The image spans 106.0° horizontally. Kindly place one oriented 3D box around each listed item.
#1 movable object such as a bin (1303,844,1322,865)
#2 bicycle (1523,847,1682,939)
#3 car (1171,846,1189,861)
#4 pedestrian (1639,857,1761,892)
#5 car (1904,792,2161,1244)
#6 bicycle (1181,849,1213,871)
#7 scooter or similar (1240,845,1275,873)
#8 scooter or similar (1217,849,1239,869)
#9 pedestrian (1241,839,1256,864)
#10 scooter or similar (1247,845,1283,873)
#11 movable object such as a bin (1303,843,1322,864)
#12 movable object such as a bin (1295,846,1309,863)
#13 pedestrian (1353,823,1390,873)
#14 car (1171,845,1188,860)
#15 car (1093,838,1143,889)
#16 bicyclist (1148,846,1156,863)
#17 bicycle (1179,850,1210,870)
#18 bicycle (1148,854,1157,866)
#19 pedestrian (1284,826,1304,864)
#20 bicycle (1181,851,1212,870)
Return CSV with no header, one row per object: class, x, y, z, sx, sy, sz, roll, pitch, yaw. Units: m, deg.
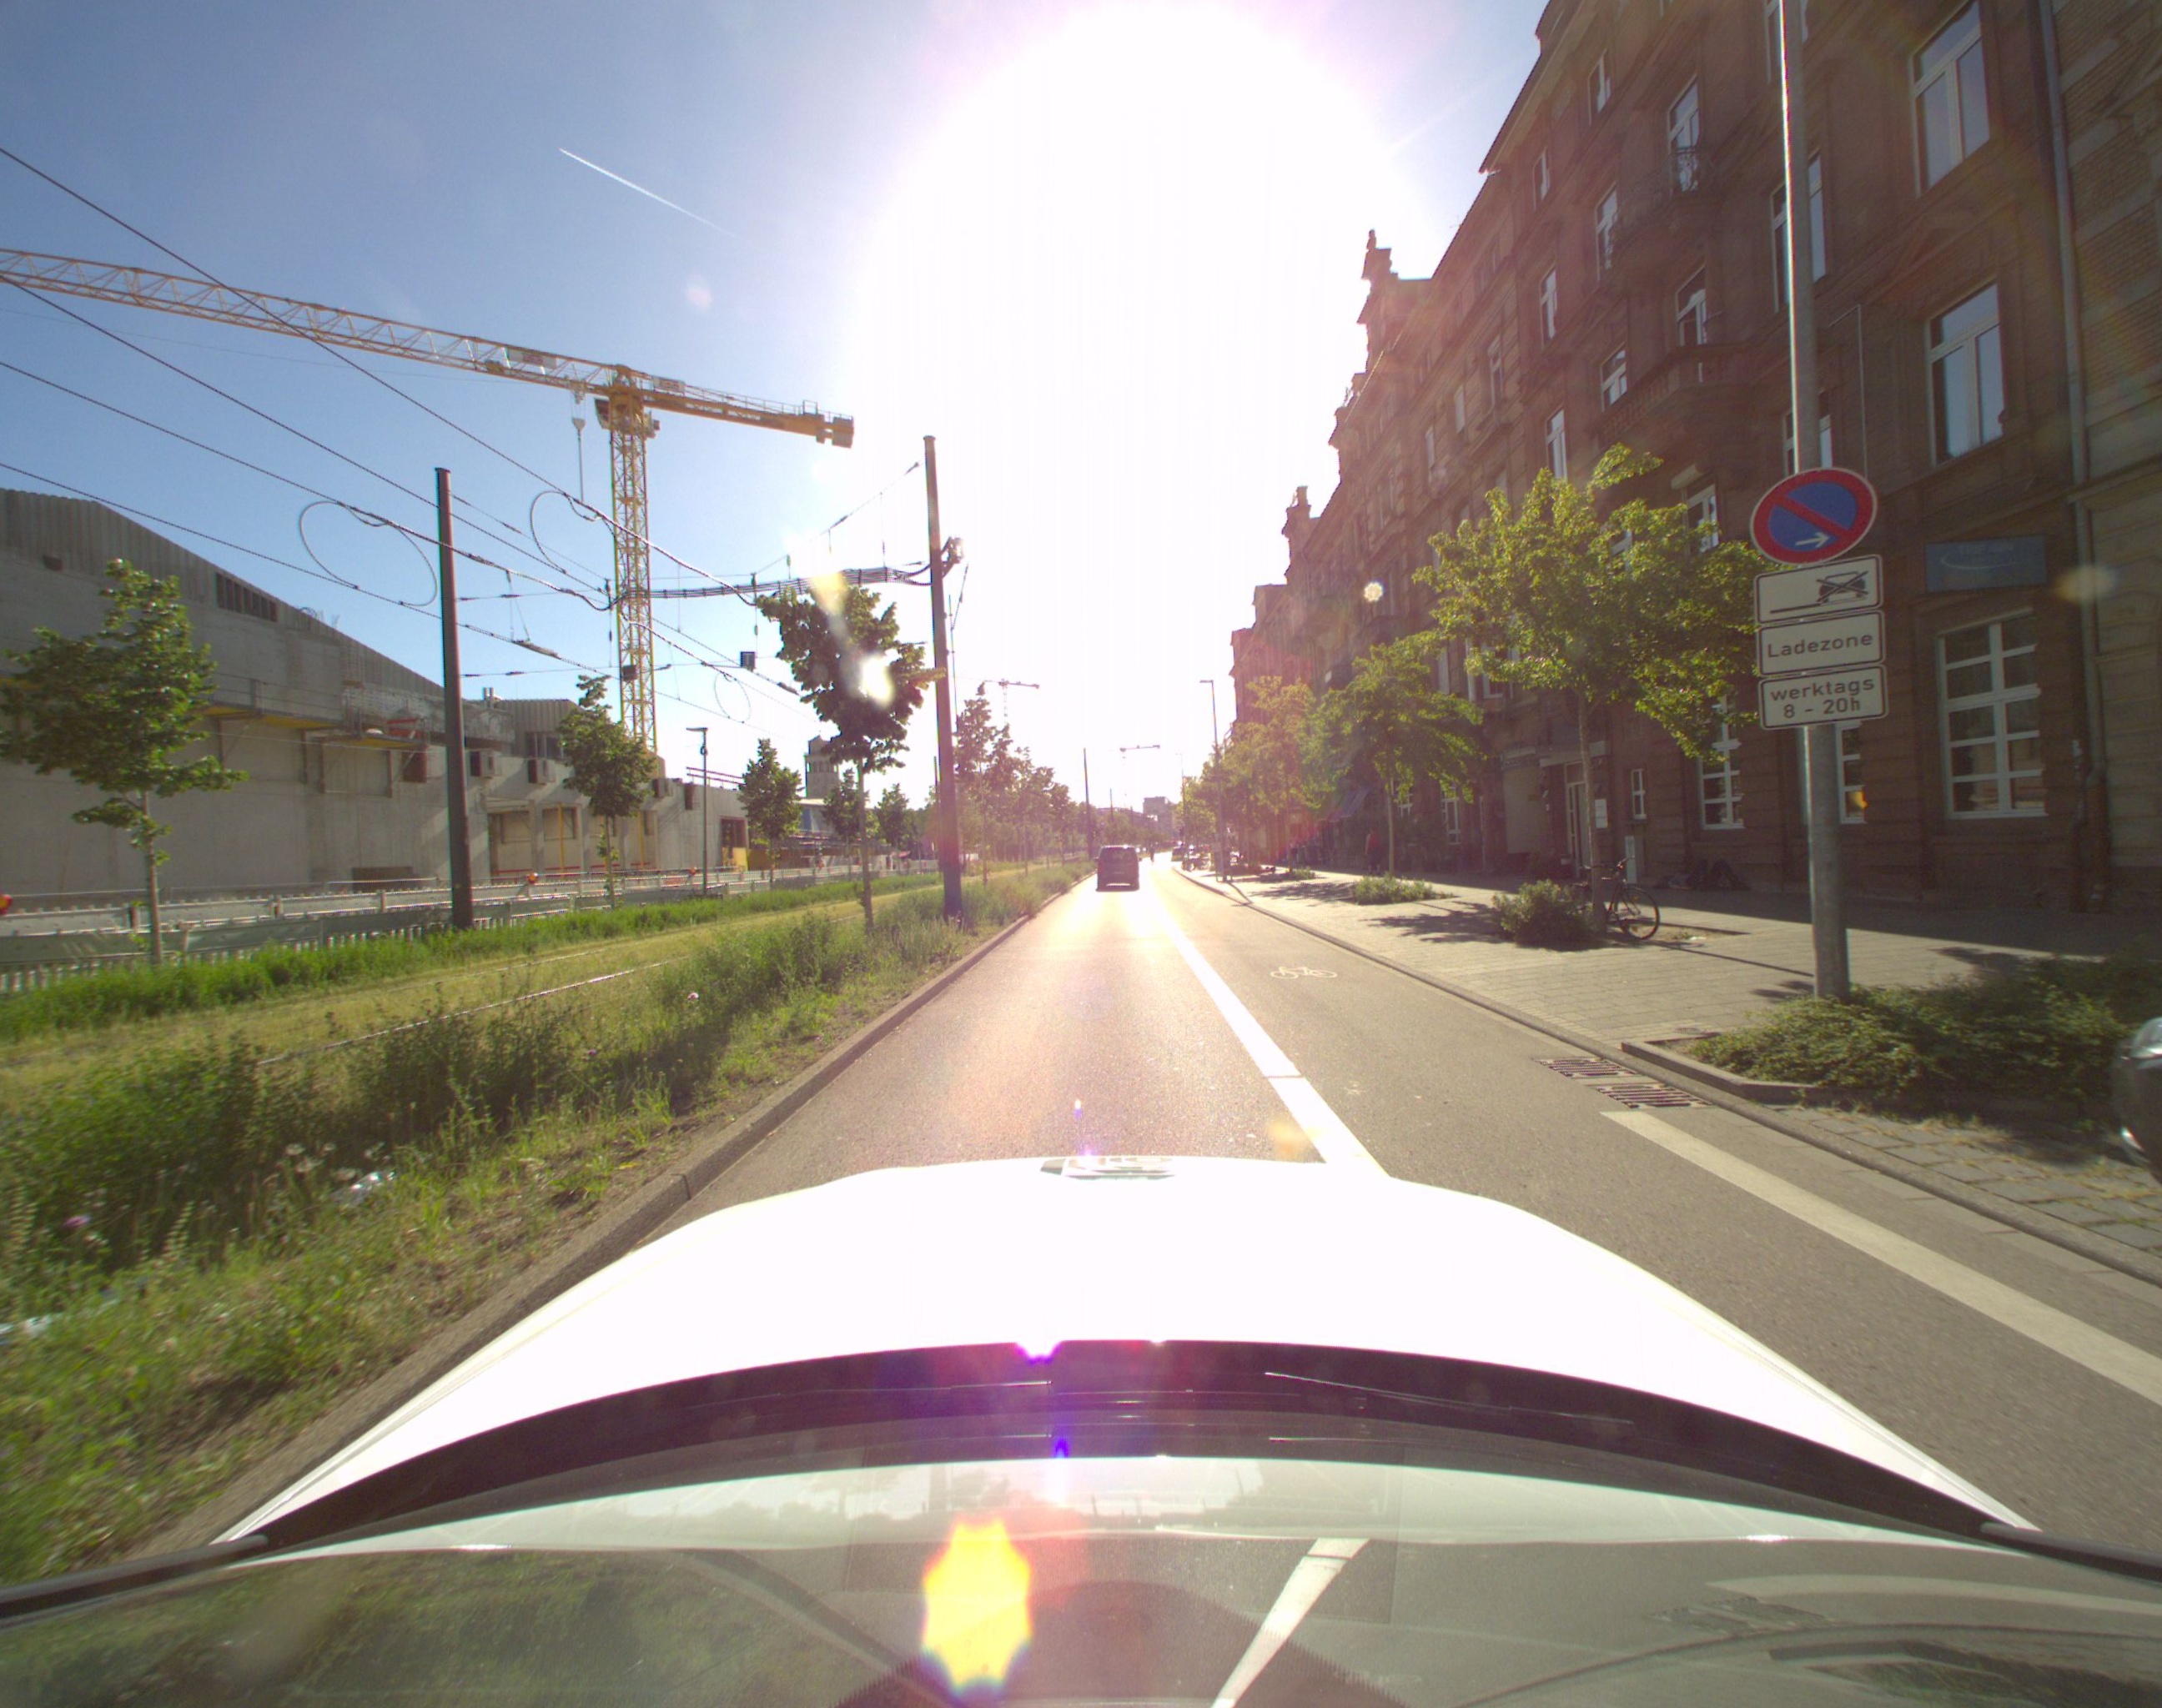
movable object such as a bin,12.653,0.005,44.528,0.723,1.097,0.747,-3,0,-3
bicycle,7.161,0.507,11.350,0.649,1.120,2.169,-4,-1,-3
car,11.445,-0.062,94.243,1.978,1.638,4.198,-2,-1,7
pedestrian,11.508,0.361,15.238,0.770,0.553,2.008,-3,0,2
car,4.648,0.501,1.539,1.877,1.569,4.222,-5,-1,2
bicycle,7.401,0.363,52.141,1.875,1.233,0.499,-5,-1,-4
scooter or similar,8.517,0.250,39.266,1.473,1.216,0.600,-5,1,-9
scooter or similar,8.876,0.293,49.246,1.214,1.106,0.784,-4,0,4
pedestrian,12.032,-0.169,58.550,0.841,1.742,0.887,-4,-1,3
scooter or similar,8.699,0.225,38.498,1.469,1.216,0.601,-5,1,-2
movable object such as a bin,12.437,-0.014,43.766,0.723,1.097,0.747,-3,0,-3
movable object such as a bin,12.770,0.022,47.061,0.602,0.916,0.650,-3,0,-2
pedestrian,10.469,-0.201,29.375,0.992,1.731,0.866,-2,-1,1
car,12.143,-0.135,100.547,2.010,1.722,4.127,-2,-1,7
car,1.611,0.411,35.262,1.985,2.014,4.003,-2,-1,3
bicyclist,6.795,0.012,78.145,0.680,1.584,0.840,-2,0,2
bicycle,7.670,0.405,55.188,1.912,1.121,0.664,-6,-1,-4
bicycle,6.831,0.603,78.066,0.698,1.091,2.278,-3,0,2
pedestrian,11.594,-0.463,44.333,0.814,2.014,1.046,-2,-3,2
bicycle,7.596,0.435,53.672,1.821,1.078,0.664,-6,-1,-4
